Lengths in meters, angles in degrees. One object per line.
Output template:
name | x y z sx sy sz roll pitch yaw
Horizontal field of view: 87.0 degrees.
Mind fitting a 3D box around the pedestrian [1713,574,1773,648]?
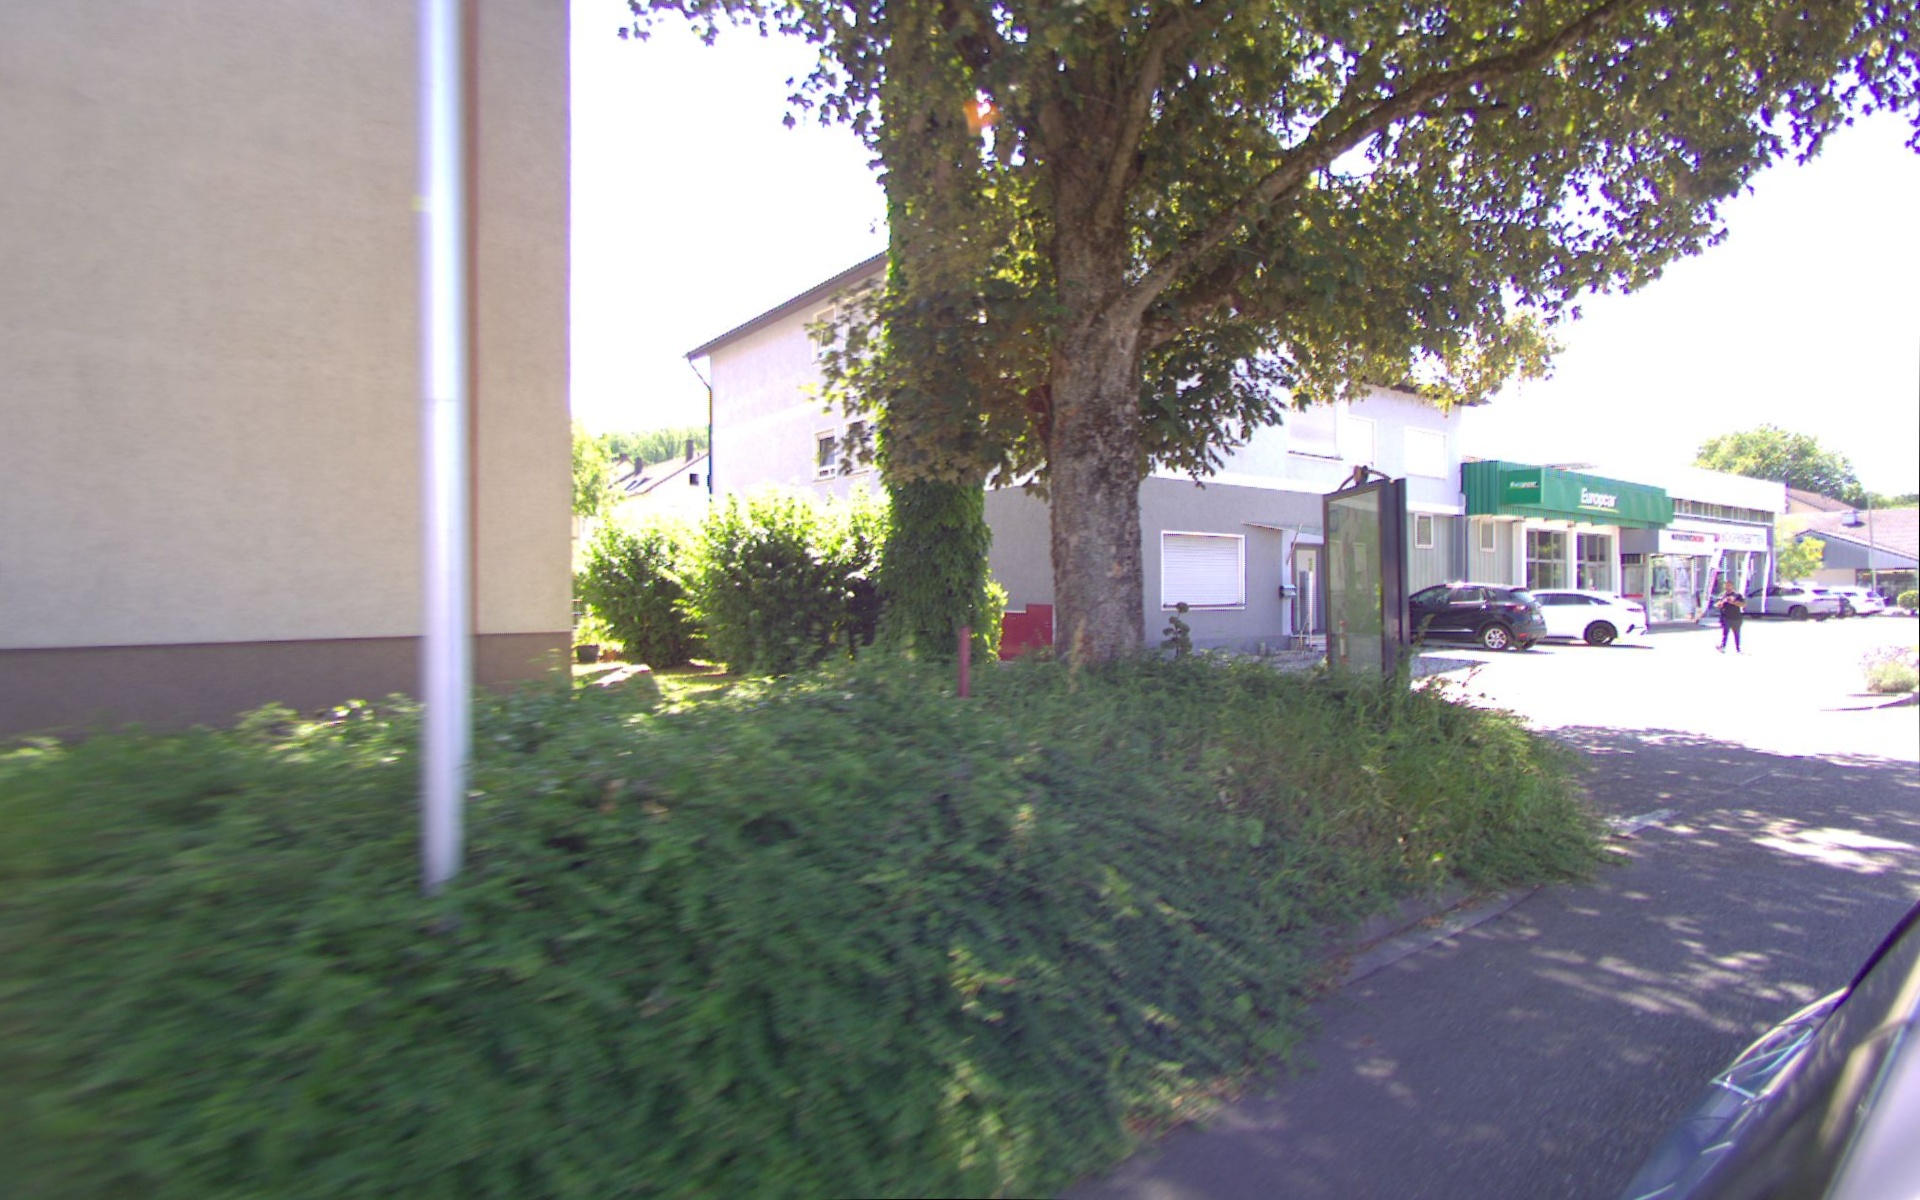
pedestrian | 18.187 0.230 23.511 0.991 1.661 0.843 -1 1 -35

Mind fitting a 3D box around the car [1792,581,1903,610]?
car | 46.534 -0.268 53.144 1.768 1.479 4.008 -1 1 -24

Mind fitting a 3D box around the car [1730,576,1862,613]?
car | 40.434 -0.306 49.096 1.958 1.662 4.606 -1 1 -20

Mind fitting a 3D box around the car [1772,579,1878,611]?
car | 44.752 -0.306 52.454 1.643 1.552 3.875 -1 1 -21

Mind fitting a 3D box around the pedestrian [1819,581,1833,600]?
pedestrian | 72.900 -0.786 85.179 0.548 1.571 0.803 -1 1 -36

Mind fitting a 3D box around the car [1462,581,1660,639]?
car | 15.581 0.223 26.513 4.317 1.388 1.937 0 1 28

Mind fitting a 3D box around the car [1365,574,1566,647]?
car | 12.156 0.184 24.539 1.766 1.569 3.996 -1 3 -40
